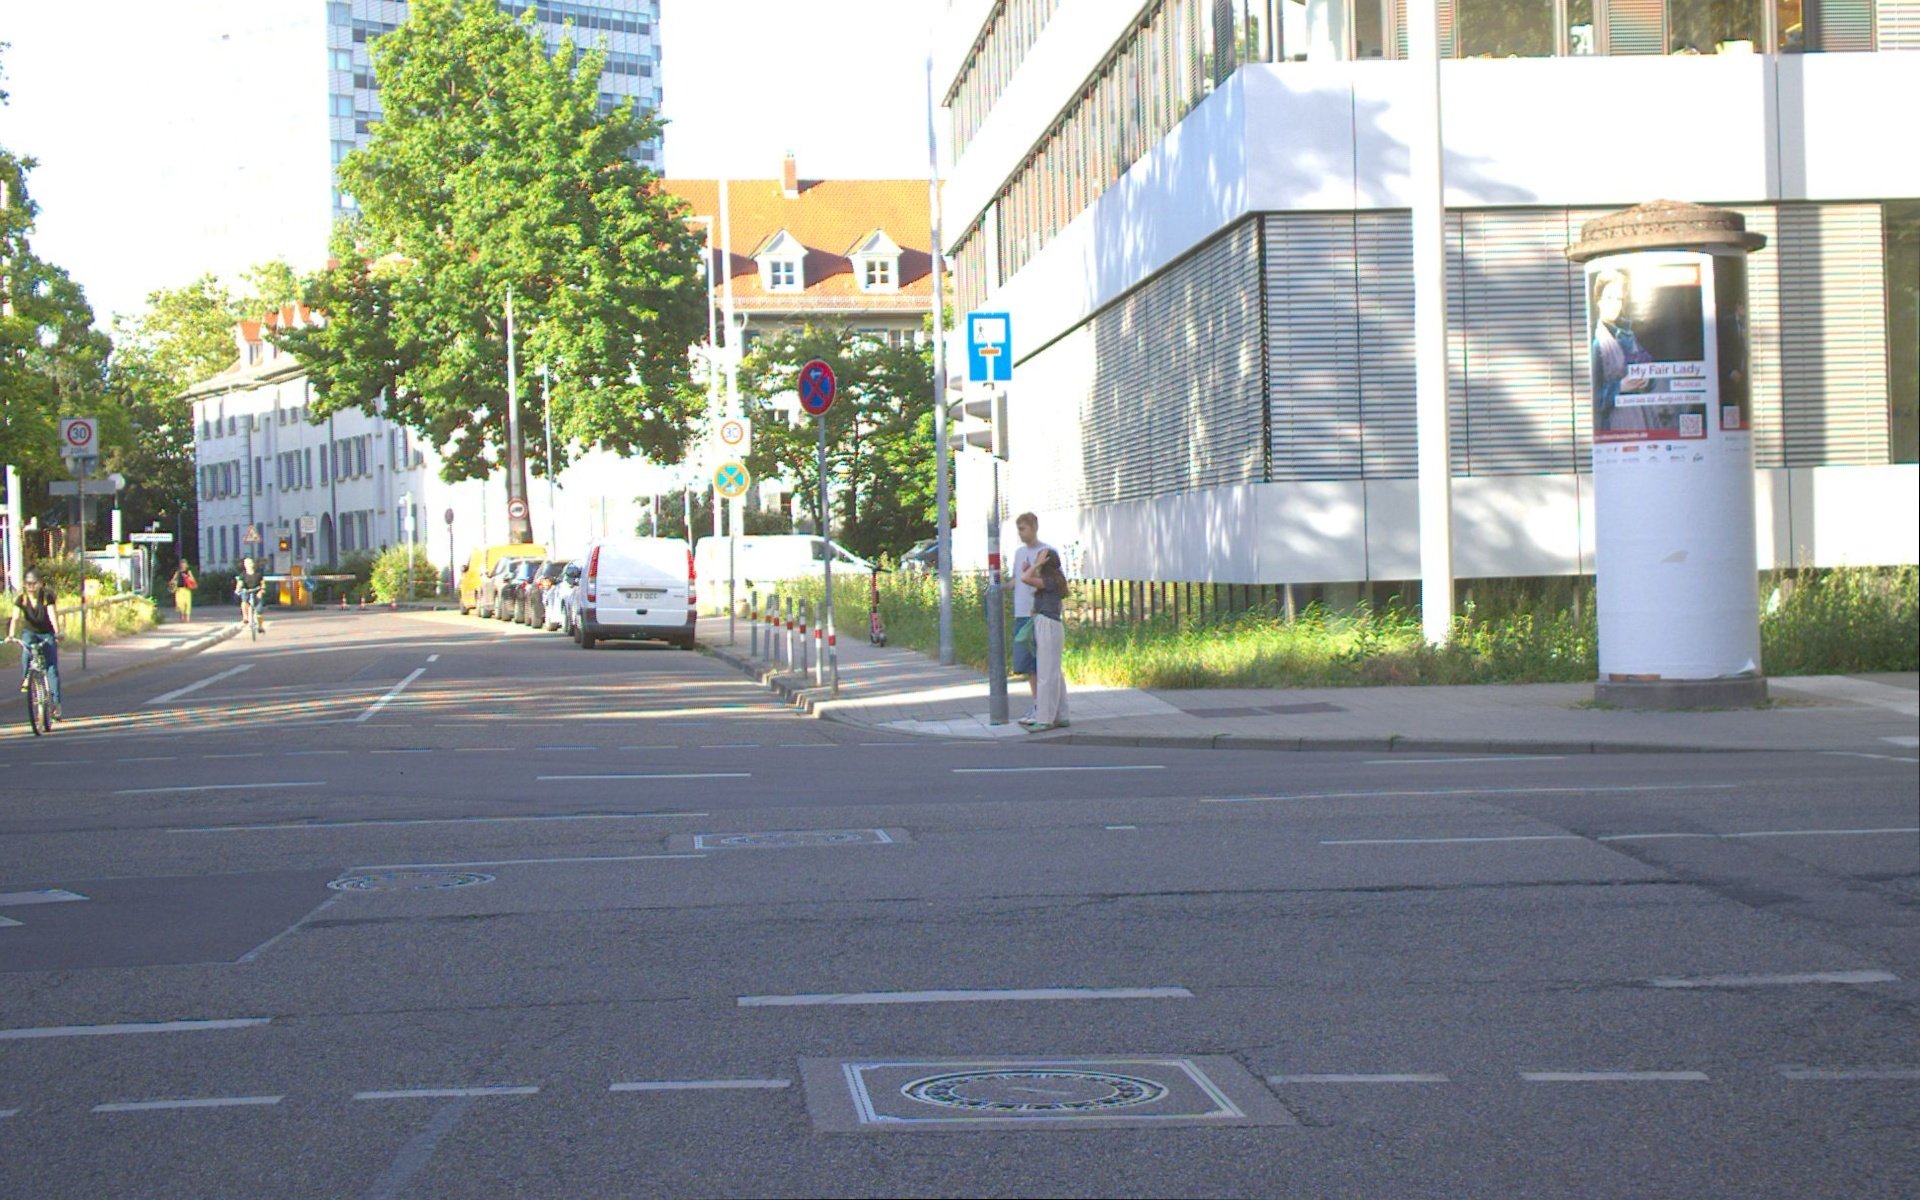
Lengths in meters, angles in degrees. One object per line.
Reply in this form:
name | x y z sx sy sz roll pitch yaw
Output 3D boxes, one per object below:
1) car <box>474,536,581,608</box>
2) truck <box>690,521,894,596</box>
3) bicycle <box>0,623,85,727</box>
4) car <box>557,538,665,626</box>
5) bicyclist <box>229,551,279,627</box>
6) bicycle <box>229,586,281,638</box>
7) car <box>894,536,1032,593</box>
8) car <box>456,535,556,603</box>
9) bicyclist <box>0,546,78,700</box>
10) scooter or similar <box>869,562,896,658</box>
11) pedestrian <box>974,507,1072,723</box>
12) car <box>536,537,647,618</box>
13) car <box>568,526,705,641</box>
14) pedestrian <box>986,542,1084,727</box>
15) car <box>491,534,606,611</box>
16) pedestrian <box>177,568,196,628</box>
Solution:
car | -10.587 -0.702 83.848 1.888 1.650 4.417 -1 2 -16
truck | -4.685 -1.159 95.913 5.336 2.007 2.001 -1 1 -17
bicycle | -9.307 0.744 34.764 0.615 0.966 1.842 -2 1 -7
car | -6.714 -0.381 65.862 1.888 1.550 4.416 -1 2 -8
bicyclist | -14.551 -0.227 70.861 0.865 1.510 1.019 -4 1 -9
bicycle | -14.527 0.242 70.851 0.865 1.006 2.415 -4 1 -9
car | 0.077 -0.994 96.901 3.553 1.541 1.559 -1 1 -17
car | -11.725 -0.824 88.646 1.888 1.650 4.417 -1 2 -16
bicyclist | -9.323 0.222 34.780 0.615 1.527 0.903 -2 1 -7
scooter or similar | -1.161 0.144 51.243 0.330 1.419 1.335 0 0 -4
pedestrian | 0.558 0.125 30.390 0.560 1.844 0.676 -4 2 18
car | -7.665 -0.490 71.277 1.888 1.550 4.416 -1 2 -11
car | -5.464 -0.309 57.627 2.085 1.789 4.416 -1 2 -8
pedestrian | 0.650 0.292 29.782 0.559 1.535 0.677 -5 2 -16
car | -9.445 -0.654 78.606 1.888 1.650 4.417 -1 2 -16
pedestrian | -20.833 -0.063 92.603 0.433 1.602 0.493 -2 1 -17
